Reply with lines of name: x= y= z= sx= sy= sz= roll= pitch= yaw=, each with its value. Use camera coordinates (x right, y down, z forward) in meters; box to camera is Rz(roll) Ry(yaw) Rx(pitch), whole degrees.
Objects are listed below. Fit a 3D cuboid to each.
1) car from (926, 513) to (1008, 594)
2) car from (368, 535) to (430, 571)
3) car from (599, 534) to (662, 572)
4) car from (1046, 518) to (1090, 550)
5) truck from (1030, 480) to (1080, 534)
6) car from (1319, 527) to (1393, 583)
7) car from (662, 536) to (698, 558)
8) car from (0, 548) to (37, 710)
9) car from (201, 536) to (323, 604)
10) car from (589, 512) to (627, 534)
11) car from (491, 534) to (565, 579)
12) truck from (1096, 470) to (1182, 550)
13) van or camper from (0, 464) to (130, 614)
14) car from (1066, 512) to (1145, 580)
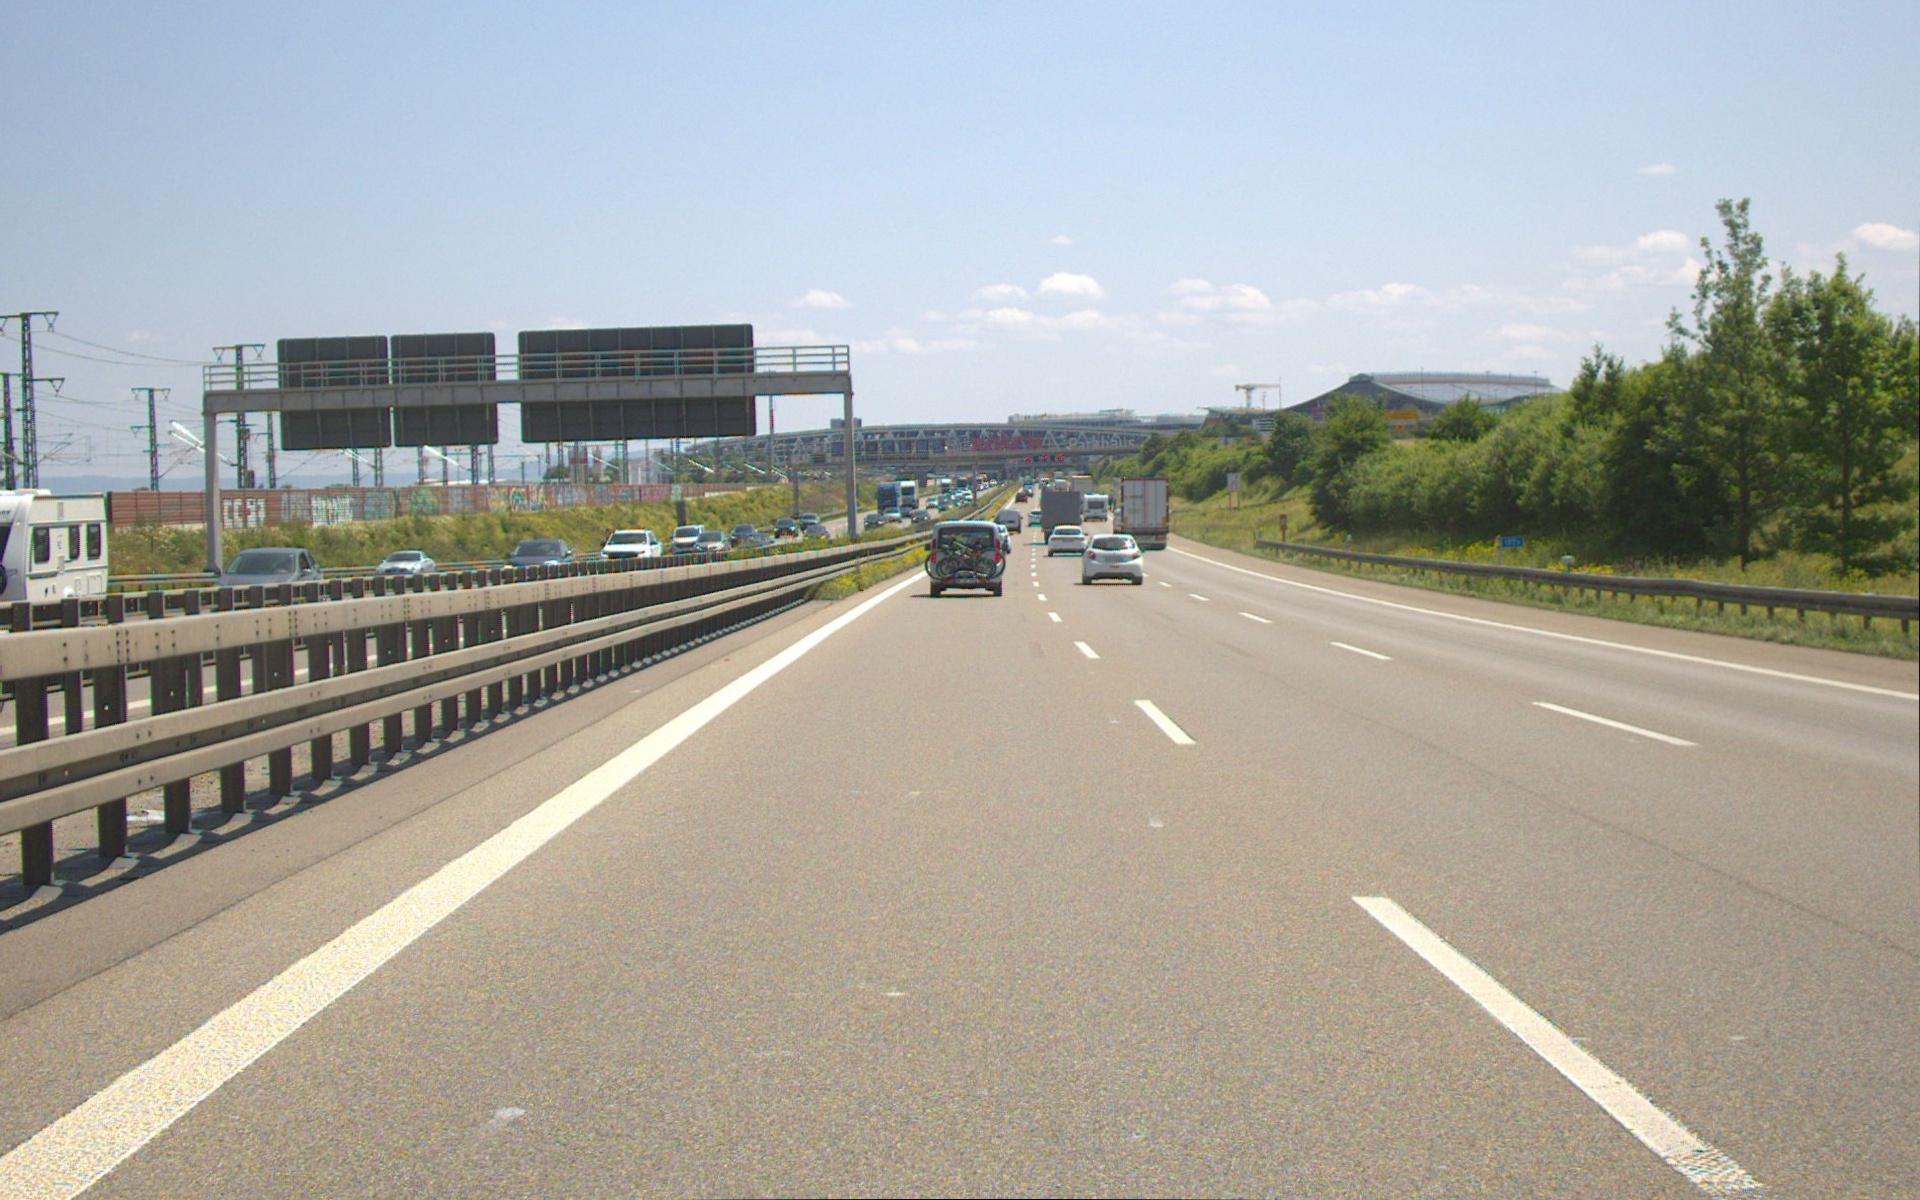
car: x=0.170 y=-1.108 z=84.282 sx=1.926 sy=1.912 sz=4.948 roll=0 pitch=0 yaw=0
car: x=-21.663 y=-1.820 z=132.763 sx=1.765 sy=1.342 sz=4.000 roll=0 pitch=1 yaw=0
car: x=-12.125 y=-1.741 z=126.758 sx=1.947 sy=1.342 sz=4.000 roll=0 pitch=1 yaw=0
car: x=5.162 y=-3.167 z=164.944 sx=1.982 sy=1.468 sz=4.000 roll=0 pitch=0 yaw=0
truck: x=5.887 y=-5.744 z=213.874 sx=2.702 sy=3.098 sz=10.659 roll=0 pitch=0 yaw=0
car: x=14.026 y=-1.584 z=121.927 sx=1.926 sy=1.912 sz=4.518 roll=0 pitch=0 yaw=-2
car: x=-17.276 y=-3.260 z=212.320 sx=1.947 sy=1.342 sz=4.000 roll=0 pitch=1 yaw=0
car: x=-9.494 y=0.279 z=30.024 sx=1.699 sy=1.460 sz=4.437 roll=0 pitch=1 yaw=0
car: x=-14.118 y=-0.629 z=69.747 sx=1.693 sy=1.342 sz=4.000 roll=0 pitch=1 yaw=0
car: x=-21.959 y=-4.820 z=214.594 sx=1.947 sy=1.342 sz=4.000 roll=0 pitch=1 yaw=0
car: x=-13.029 y=-1.315 z=103.886 sx=1.765 sy=1.342 sz=4.000 roll=0 pitch=1 yaw=0
truck: x=9.941 y=-5.110 z=192.272 sx=4.039 sy=4.247 sz=11.758 roll=0 pitch=2 yaw=0
van or camper: x=-17.856 y=-1.144 z=64.831 sx=2.517 sy=2.656 sz=8.065 roll=0 pitch=1 yaw=0
car: x=4.238 y=-1.554 z=100.680 sx=1.926 sy=1.912 sz=4.518 roll=0 pitch=0 yaw=-2
